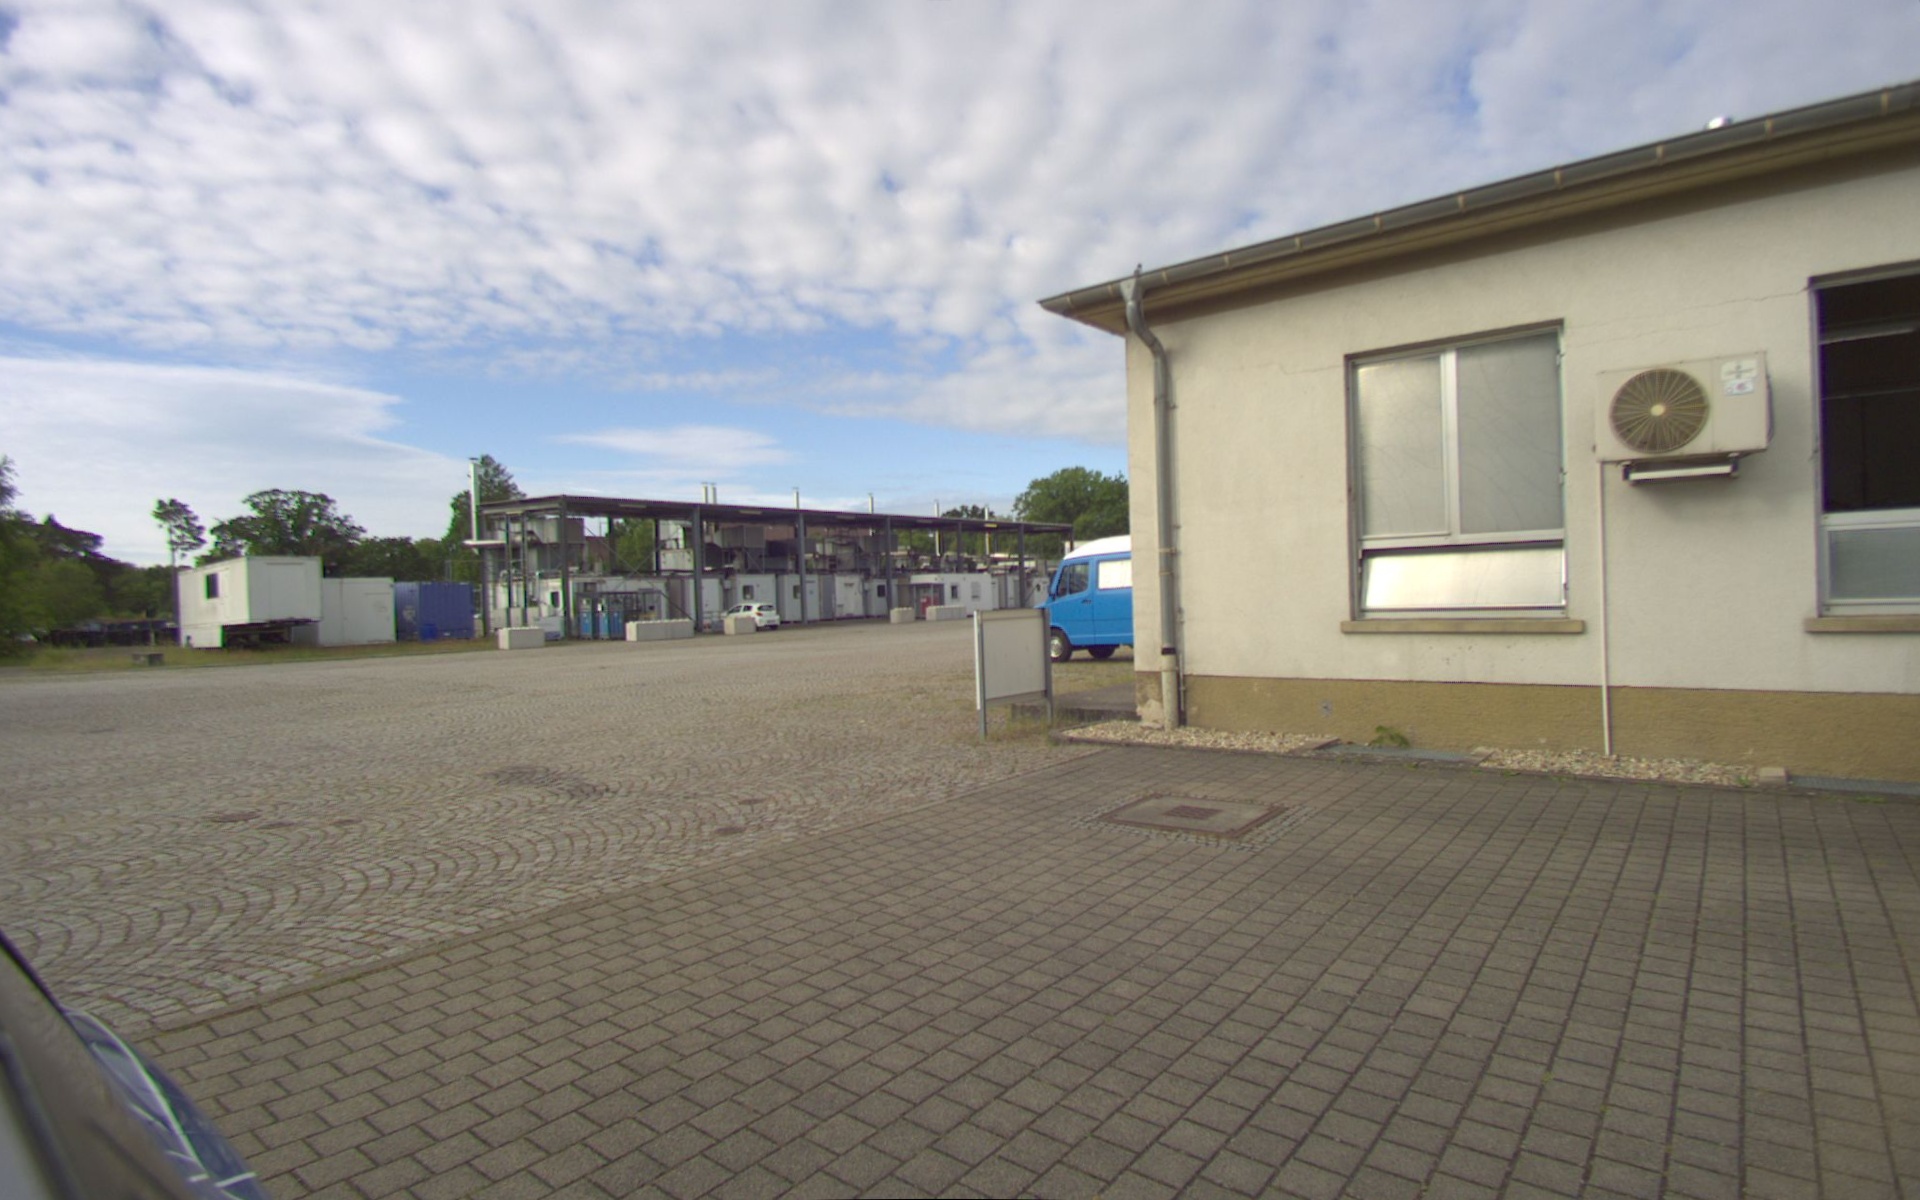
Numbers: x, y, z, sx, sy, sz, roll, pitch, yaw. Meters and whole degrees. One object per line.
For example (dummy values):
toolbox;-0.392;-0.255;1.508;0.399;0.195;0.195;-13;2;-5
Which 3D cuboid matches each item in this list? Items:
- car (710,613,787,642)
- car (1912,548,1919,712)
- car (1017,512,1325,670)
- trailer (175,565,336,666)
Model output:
car;-11.356;1.480;54.302;3.992;1.484;1.911;-2;-2;36
car;6.694;0.377;3.432;4.803;1.472;1.907;-3;-1;38
car;3.878;-0.050;19.374;5.395;2.602;1.973;-4;-2;42
trailer;-29.217;0.720;41.683;10.770;3.690;2.839;-3;-1;41
